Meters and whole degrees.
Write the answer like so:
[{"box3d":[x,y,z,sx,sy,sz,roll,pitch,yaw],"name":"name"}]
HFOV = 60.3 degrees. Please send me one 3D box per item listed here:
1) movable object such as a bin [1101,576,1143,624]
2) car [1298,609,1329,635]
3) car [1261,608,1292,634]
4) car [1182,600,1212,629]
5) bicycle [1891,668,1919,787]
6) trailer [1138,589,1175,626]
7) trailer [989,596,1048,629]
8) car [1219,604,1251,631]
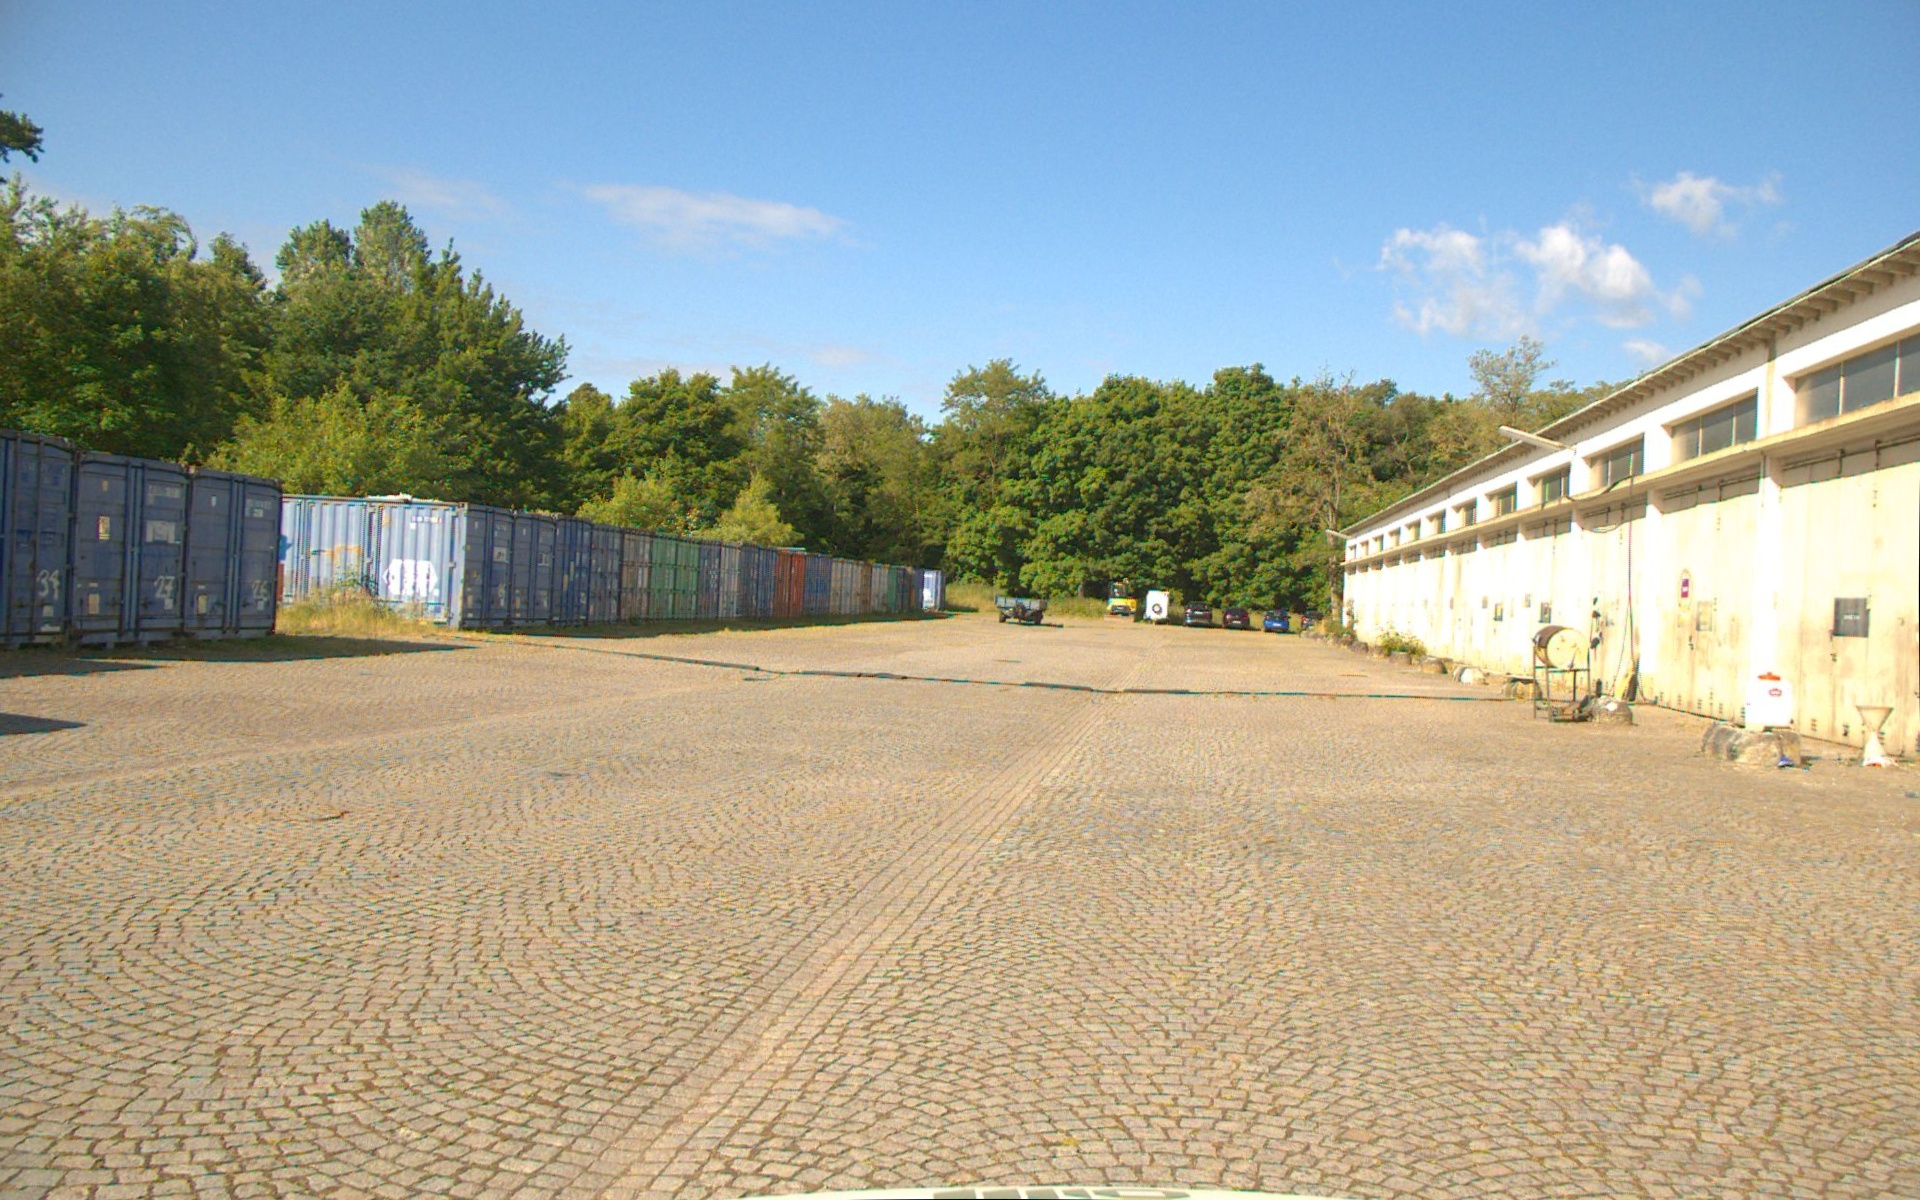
[{"box3d":[10.890,-0.056,110.899,2.258,2.946,5.756,4,2,9],"name":"movable object such as a bin"},{"box3d":[23.055,1.423,107.857,1.708,1.461,4.186,4,2,15],"name":"car"},{"box3d":[20.482,1.333,106.806,1.707,1.461,4.186,4,2,13],"name":"car"},{"box3d":[15.357,0.946,107.240,1.824,1.616,4.299,4,2,8],"name":"car"},{"box3d":[9.332,1.214,15.560,0.651,1.086,1.824,3,-1,20],"name":"bicycle"},{"box3d":[13.090,0.468,109.978,2.147,2.130,5.756,4,2,8],"name":"trailer"},{"box3d":[3.265,0.659,91.082,2.648,1.491,6.252,4,1,7],"name":"trailer"},{"box3d":[17.815,1.130,107.255,1.824,1.495,4.299,4,2,8],"name":"car"}]
